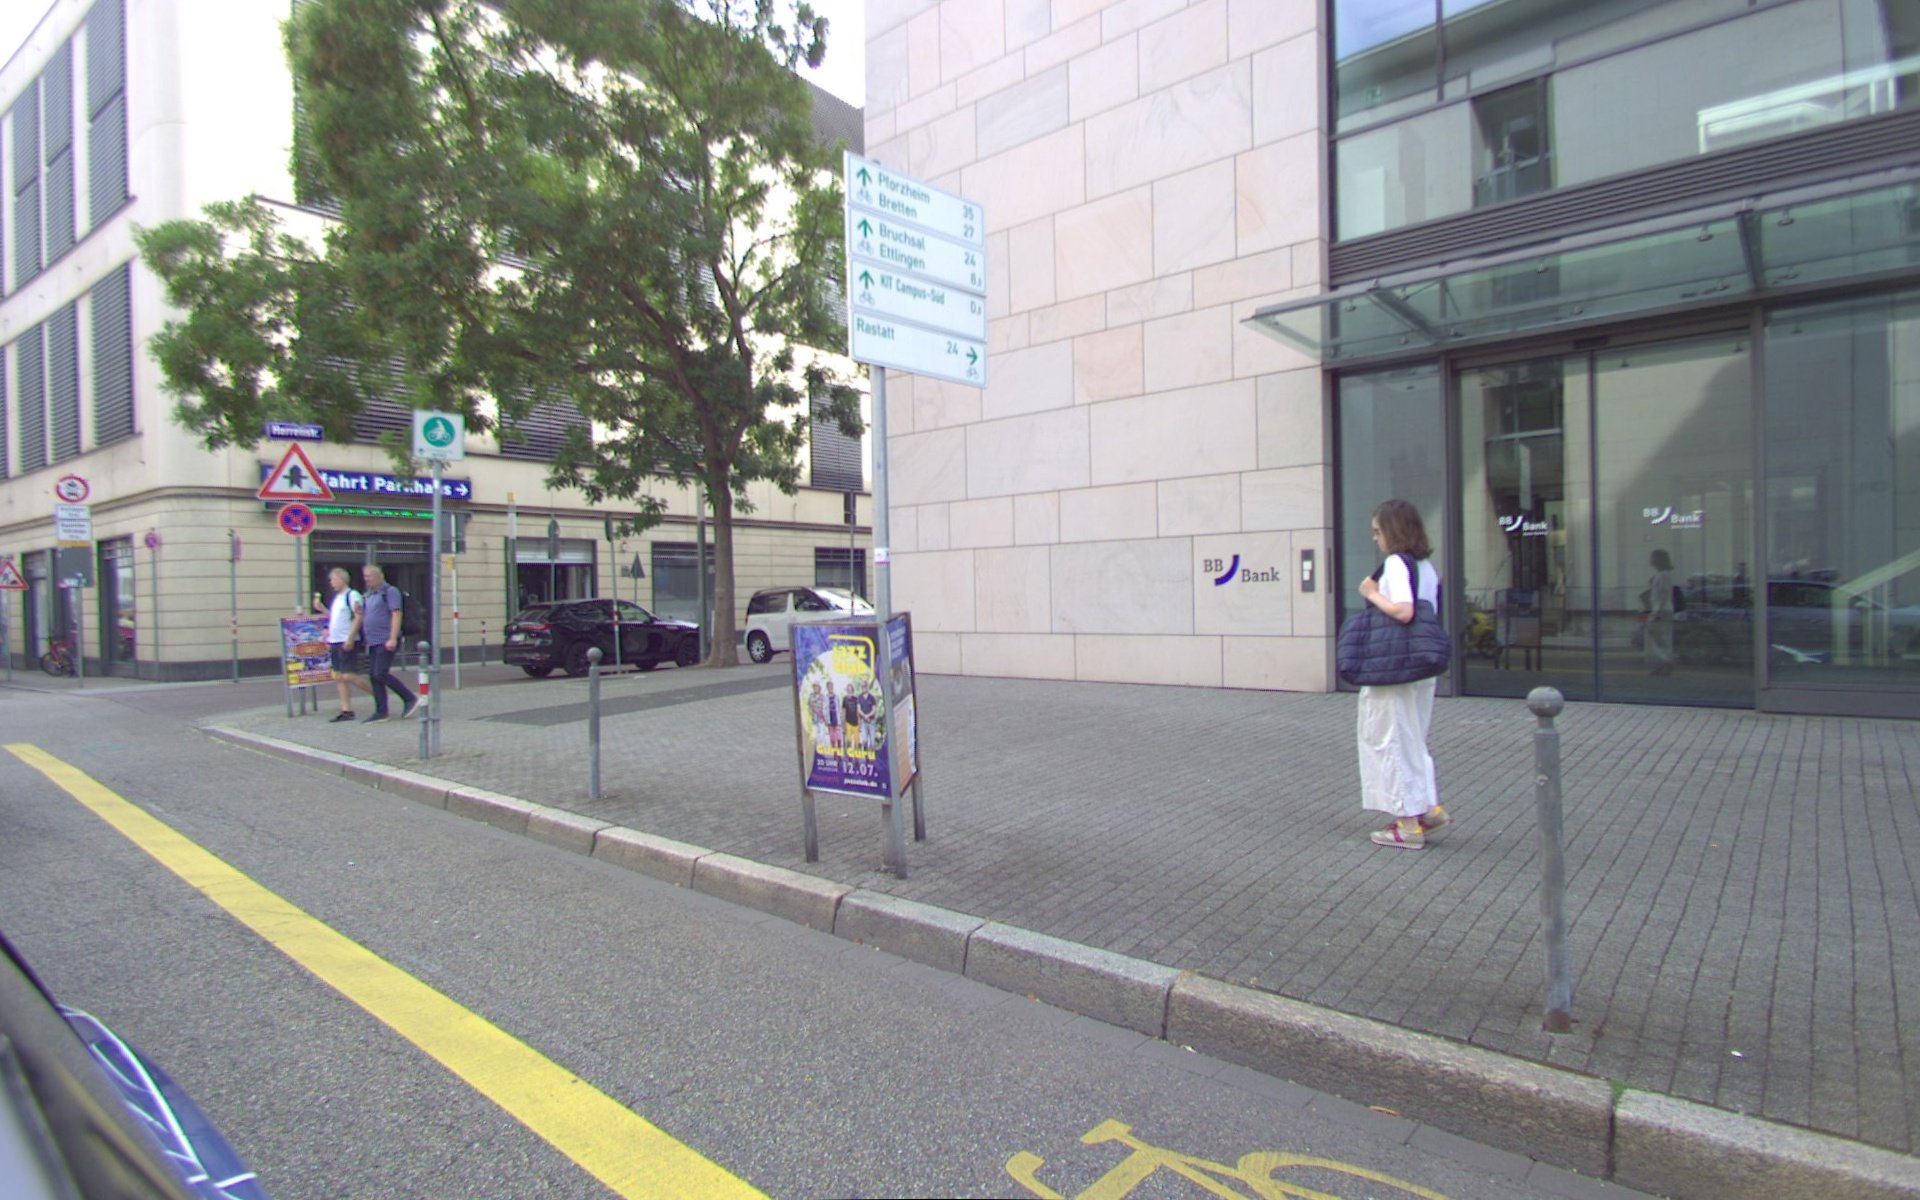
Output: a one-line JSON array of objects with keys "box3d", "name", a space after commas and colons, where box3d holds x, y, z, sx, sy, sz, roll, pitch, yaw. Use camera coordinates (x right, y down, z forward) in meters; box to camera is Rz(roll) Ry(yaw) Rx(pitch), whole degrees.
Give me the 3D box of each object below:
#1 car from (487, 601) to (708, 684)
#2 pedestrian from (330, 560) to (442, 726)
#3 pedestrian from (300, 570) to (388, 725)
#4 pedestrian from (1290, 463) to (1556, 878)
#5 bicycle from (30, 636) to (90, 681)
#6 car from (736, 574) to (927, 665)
[{"box3d": [-7.978, 0.897, 22.621, 1.813, 1.613, 4.310, -5, -3, 38], "name": "car"}, {"box3d": [-6.641, 0.476, 11.727, 0.753, 1.827, 0.738, -2, 3, 29], "name": "pedestrian"}, {"box3d": [-7.296, 0.547, 11.998, 0.651, 1.778, 0.637, -1, -1, 29], "name": "pedestrian"}, {"box3d": [2.204, 0.268, 4.799, 0.909, 1.721, 0.868, -1, 4, 40], "name": "pedestrian"}, {"box3d": [-23.409, 1.502, 26.302, 2.539, 1.052, 0.684, -1, 0, 37], "name": "bicycle"}, {"box3d": [-2.893, 0.468, 22.476, 3.957, 1.706, 1.876, -5, -3, 37], "name": "car"}]
